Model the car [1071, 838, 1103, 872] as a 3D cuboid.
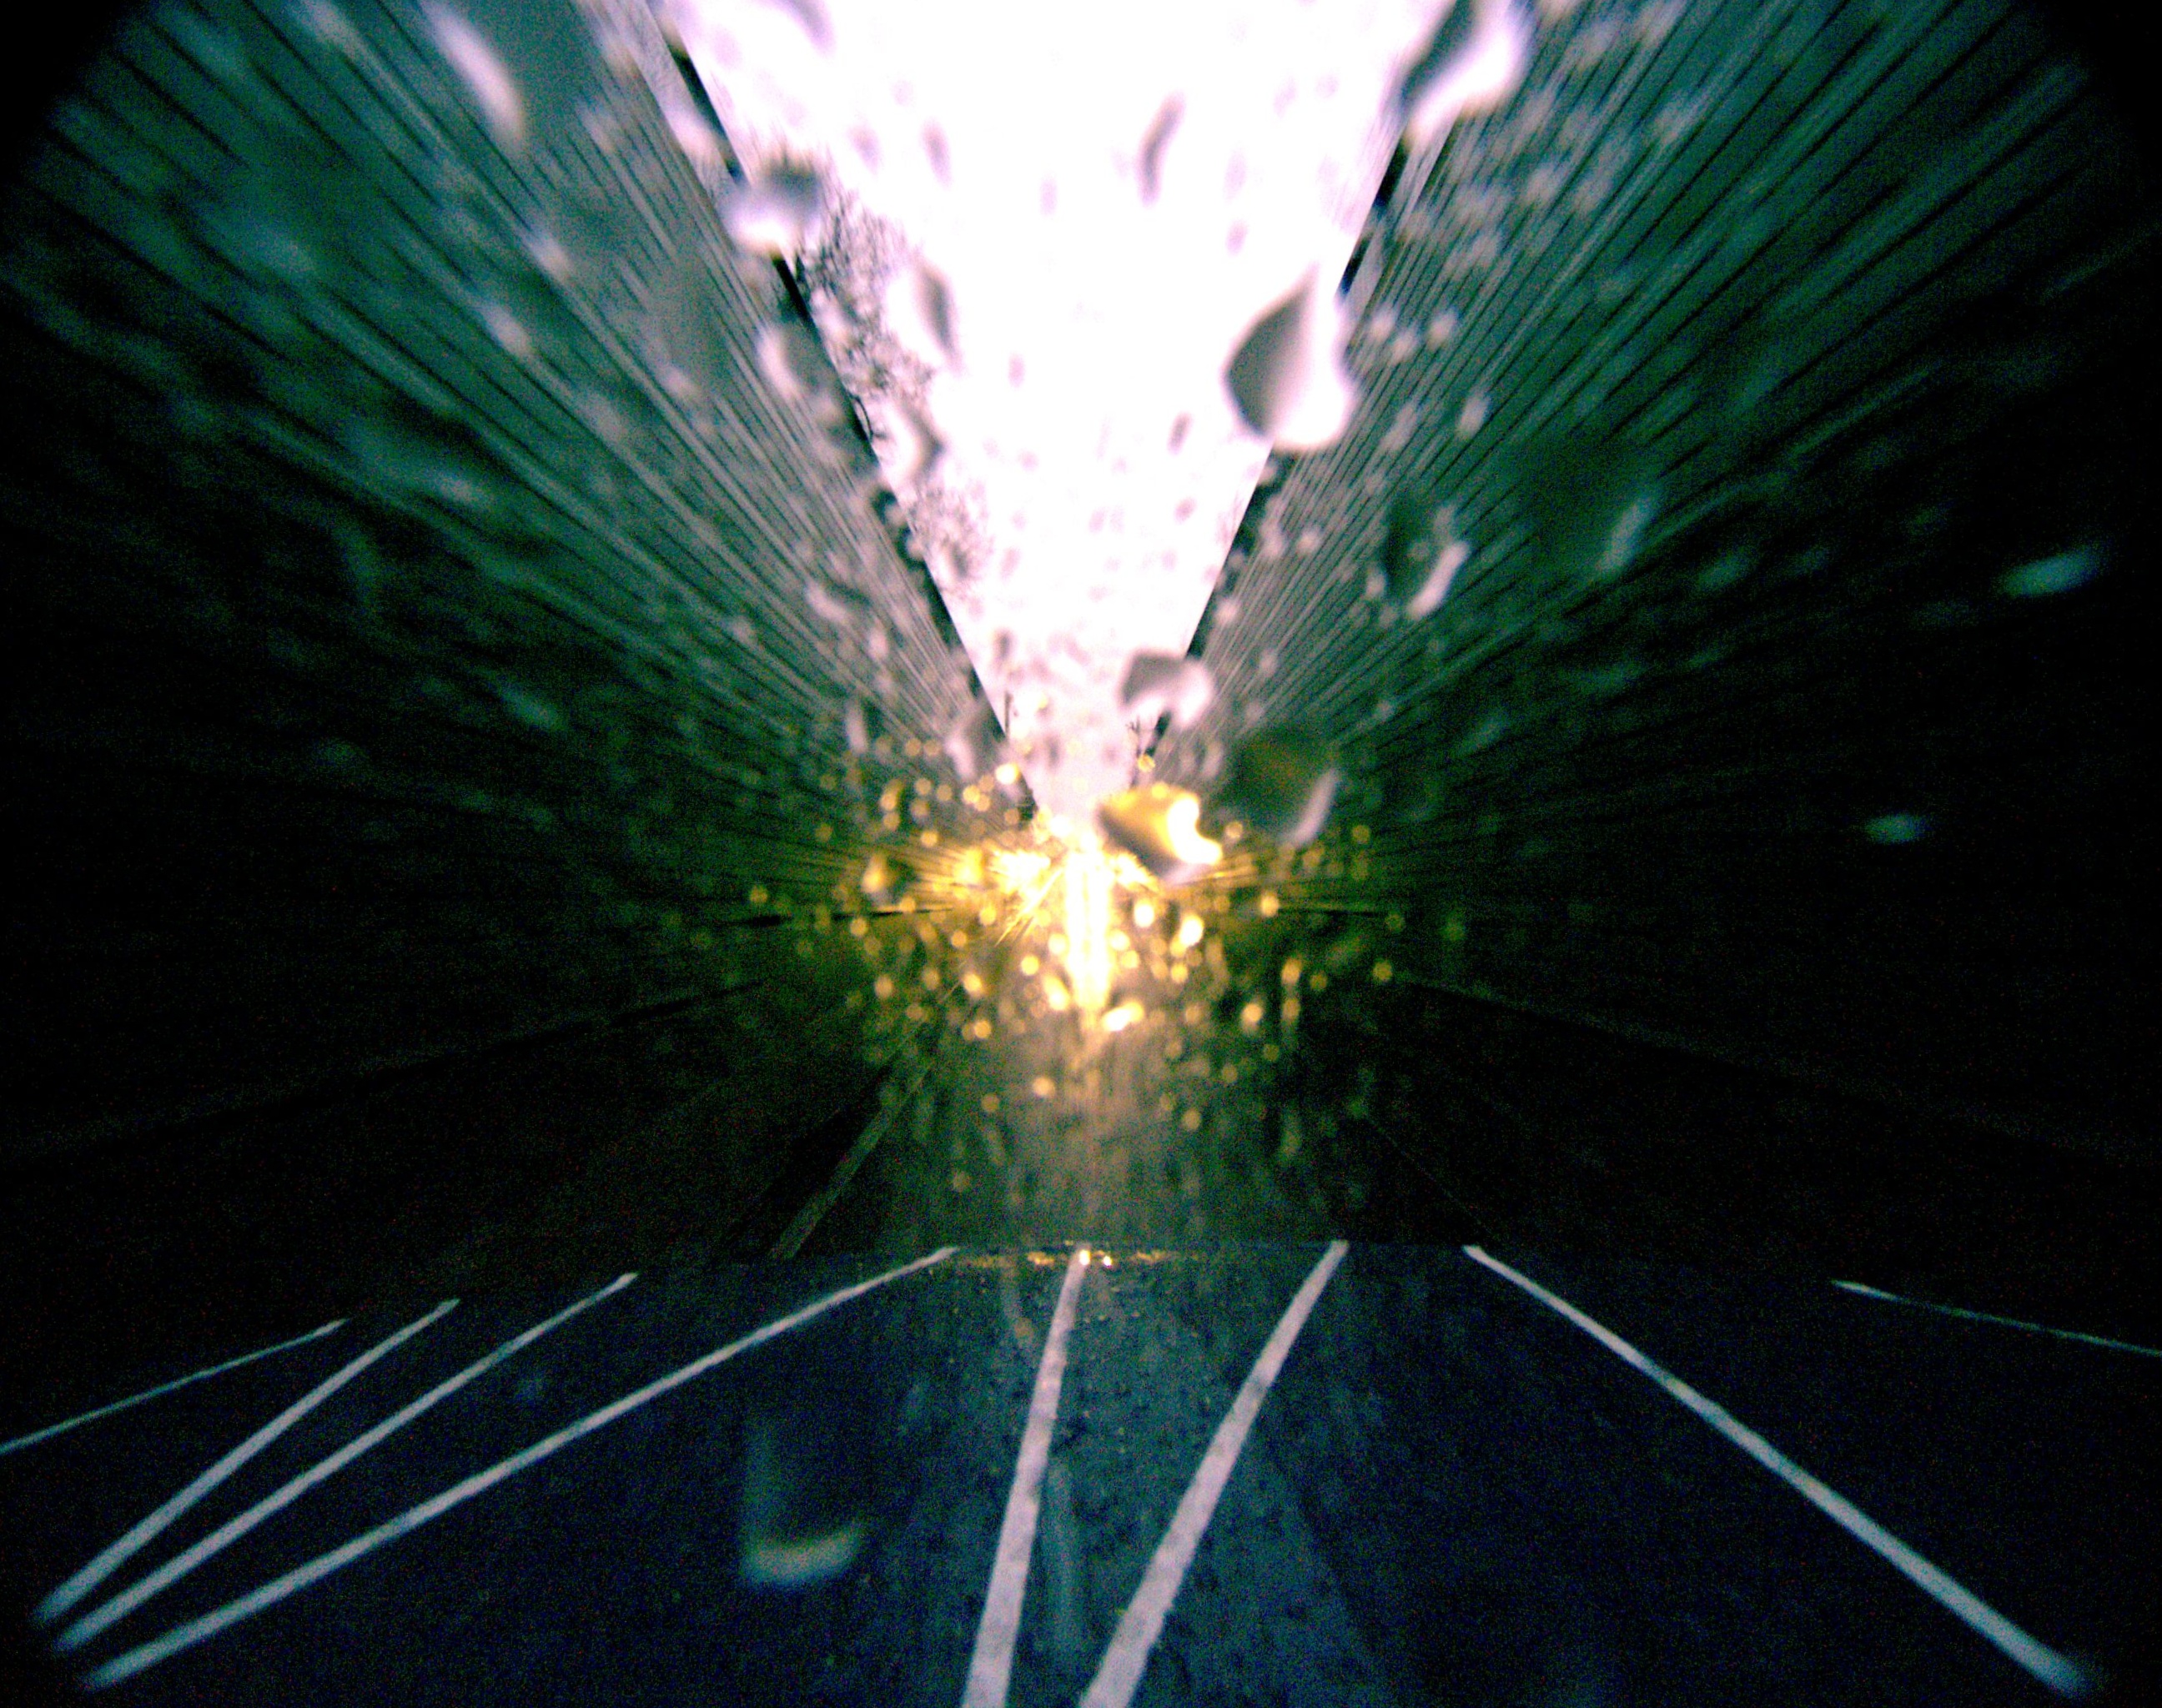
[{"bbox_3d":[0.434,0.096,52.498,2.030,2.016,4.427,-2,-3,1],"label":"car"}]
